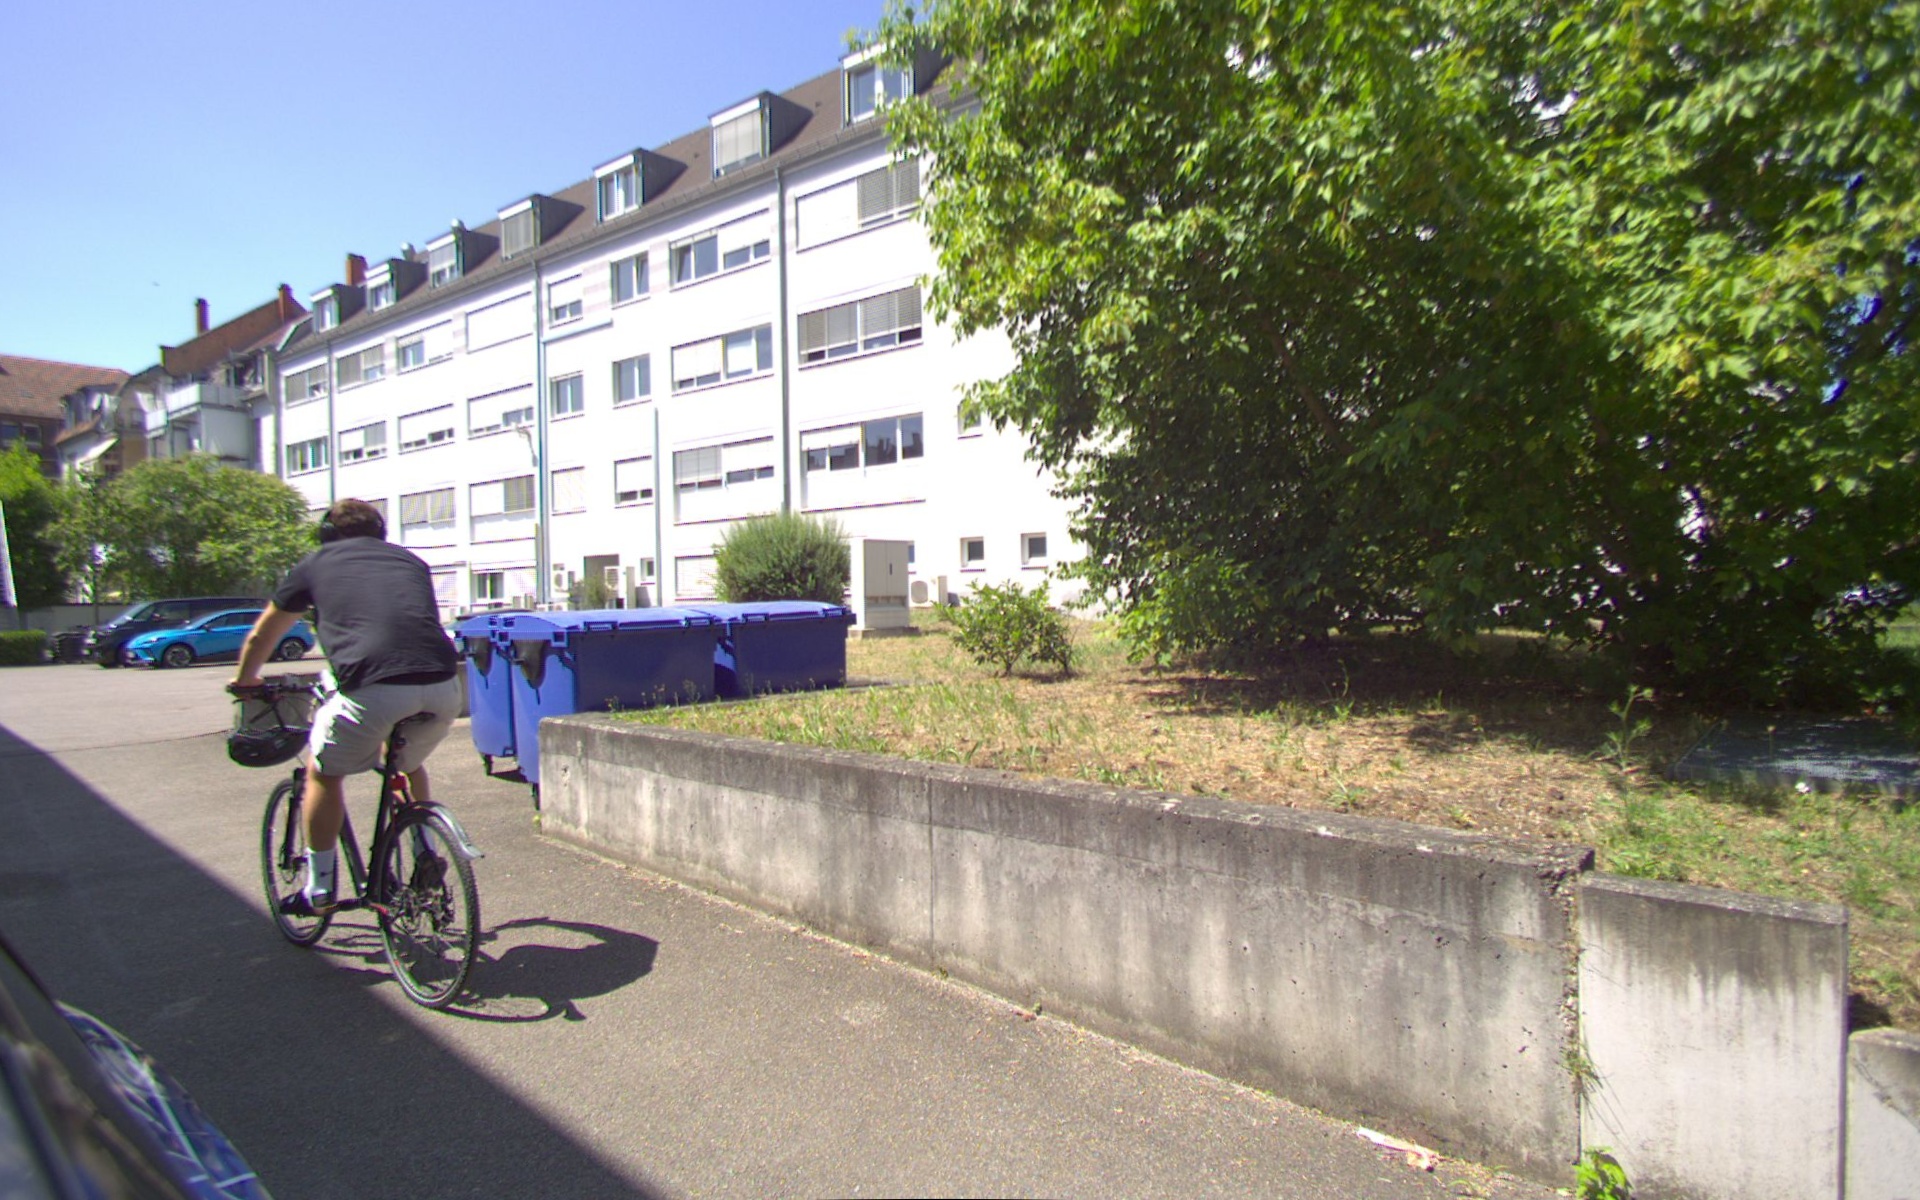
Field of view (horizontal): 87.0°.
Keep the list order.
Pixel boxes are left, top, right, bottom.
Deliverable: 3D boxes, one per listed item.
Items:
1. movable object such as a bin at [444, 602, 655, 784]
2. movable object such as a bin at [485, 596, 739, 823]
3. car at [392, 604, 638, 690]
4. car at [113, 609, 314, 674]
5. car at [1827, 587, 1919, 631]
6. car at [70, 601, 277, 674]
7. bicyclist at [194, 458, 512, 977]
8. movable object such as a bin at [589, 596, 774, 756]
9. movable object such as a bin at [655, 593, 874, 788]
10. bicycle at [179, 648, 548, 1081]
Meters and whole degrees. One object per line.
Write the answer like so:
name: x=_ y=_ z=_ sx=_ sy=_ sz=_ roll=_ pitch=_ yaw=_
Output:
movable object such as a bin: x=-3.407 y=0.710 z=8.423 sx=1.104 sy=1.337 sz=1.241 roll=-2 pitch=0 yaw=42
movable object such as a bin: x=-2.365 y=0.668 z=6.912 sx=1.104 sy=1.337 sz=1.241 roll=-2 pitch=0 yaw=42
car: x=-8.295 y=0.809 z=19.146 sx=1.709 sy=1.447 sz=3.949 roll=-1 pitch=-1 yaw=38
car: x=-20.587 y=1.094 z=28.065 sx=1.856 sy=1.565 sz=4.119 roll=-1 pitch=0 yaw=36
car: x=35.440 y=0.322 z=38.111 sx=4.167 sy=1.630 sz=1.950 roll=-1 pitch=0 yaw=39
car: x=-22.786 y=1.012 z=29.454 sx=1.998 sy=1.846 sz=4.394 roll=-1 pitch=1 yaw=38
bicyclist: x=-2.258 y=0.367 z=3.752 sx=0.978 sy=1.621 sz=0.715 roll=-1 pitch=0 yaw=41
movable object such as a bin: x=-2.587 y=0.655 z=9.427 sx=1.104 sy=1.337 sz=1.241 roll=-2 pitch=0 yaw=42
movable object such as a bin: x=-1.515 y=0.638 z=7.903 sx=1.104 sy=1.337 sz=1.241 roll=-2 pitch=0 yaw=42
bicycle: x=-2.327 y=0.814 z=3.828 sx=1.904 sy=1.183 sz=0.637 roll=-1 pitch=1 yaw=42
